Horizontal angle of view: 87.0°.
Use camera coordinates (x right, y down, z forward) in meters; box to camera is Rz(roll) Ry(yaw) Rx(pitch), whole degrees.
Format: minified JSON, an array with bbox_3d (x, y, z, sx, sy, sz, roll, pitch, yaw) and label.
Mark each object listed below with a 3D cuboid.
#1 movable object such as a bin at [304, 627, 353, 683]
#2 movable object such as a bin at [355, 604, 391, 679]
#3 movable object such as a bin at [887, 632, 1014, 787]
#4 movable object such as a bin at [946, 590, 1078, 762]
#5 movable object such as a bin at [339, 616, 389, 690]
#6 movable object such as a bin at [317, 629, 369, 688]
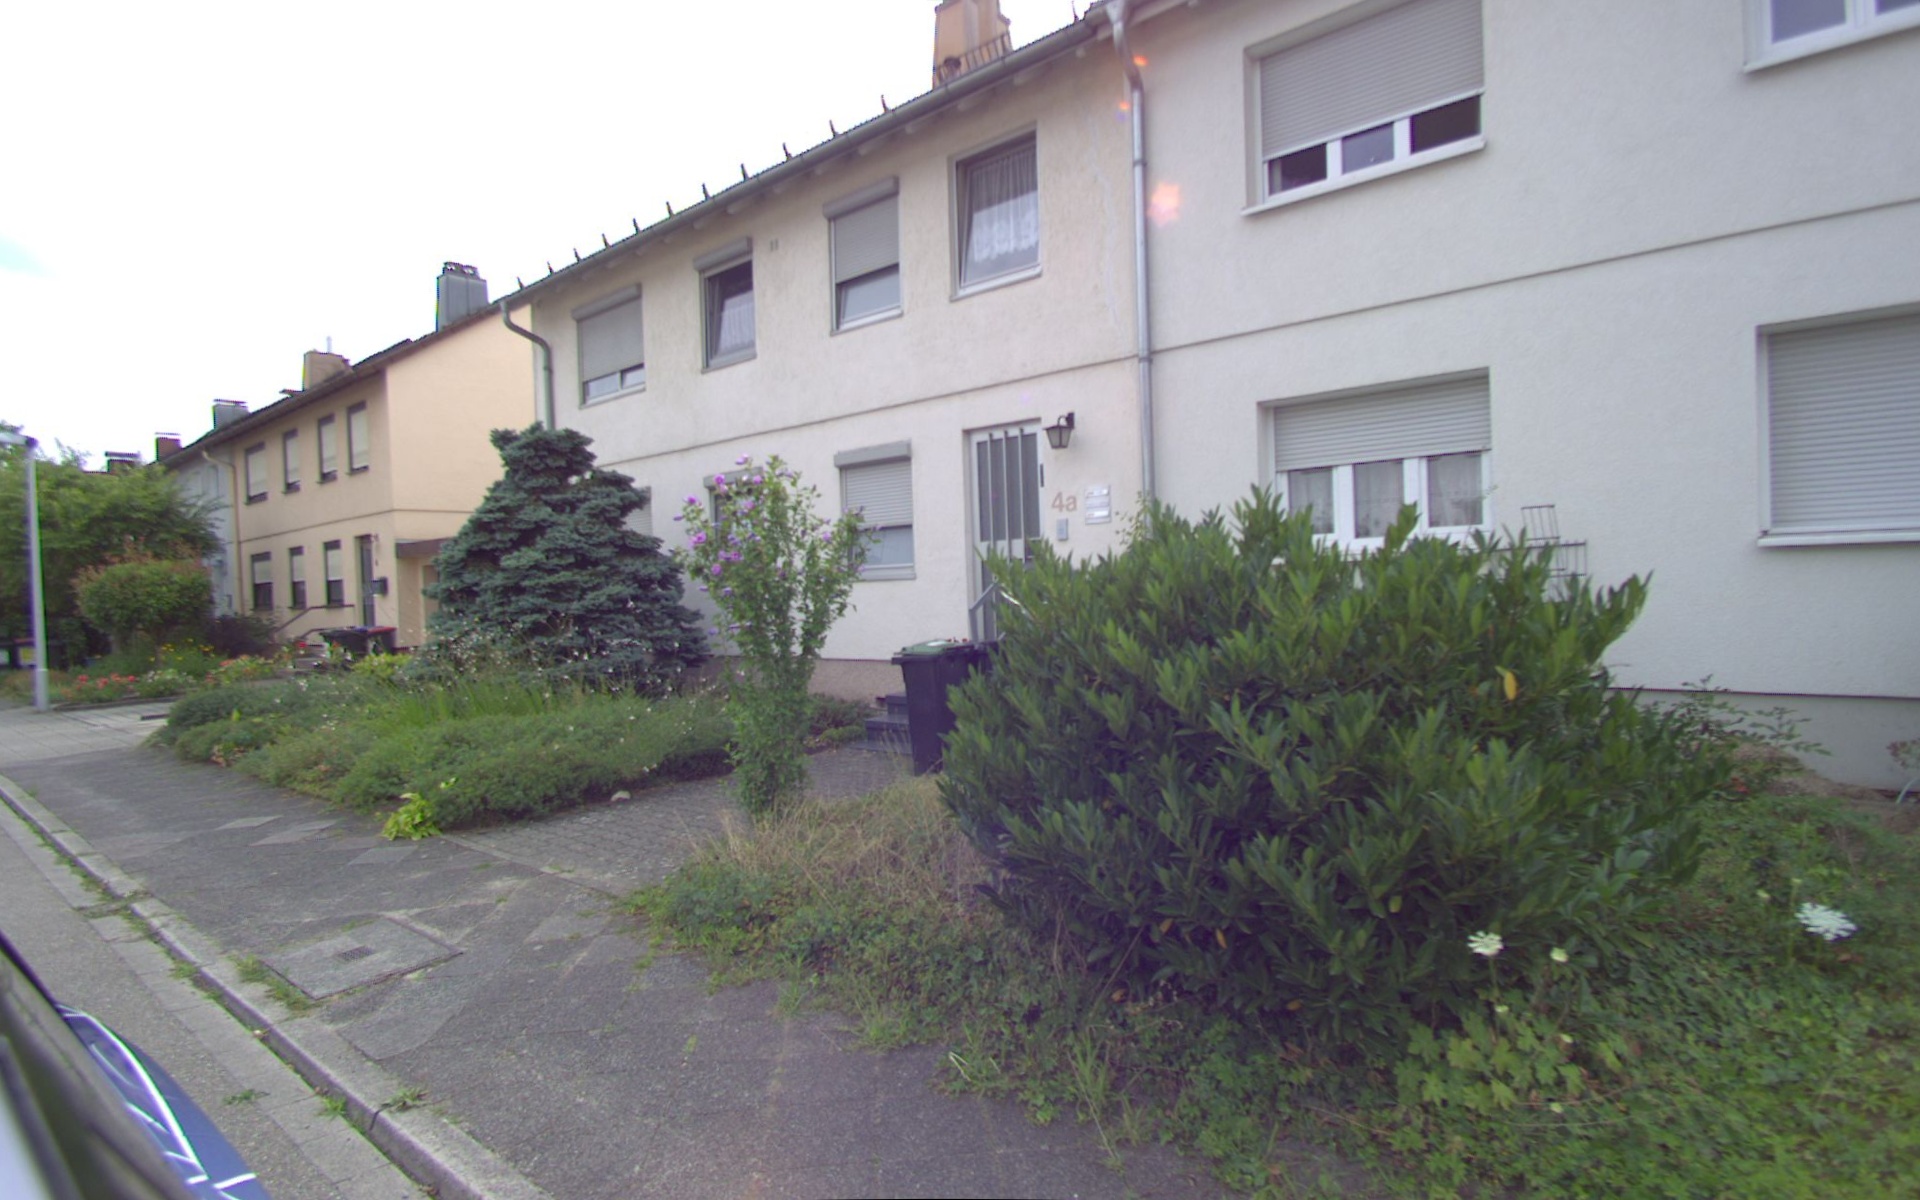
[{"bbox_3d":[-11.845,1.016,18.990,0.541,1.010,0.646,-2,-1,41],"label":"movable object such as a bin"},{"bbox_3d":[-11.098,0.780,19.122,0.610,1.395,0.406,-2,-1,41],"label":"movable object such as a bin"},{"bbox_3d":[-0.064,0.744,7.205,0.598,1.015,0.668,-2,-1,41],"label":"movable object such as a bin"},{"bbox_3d":[0.406,0.556,7.857,0.734,1.249,0.689,-2,-1,41],"label":"movable object such as a bin"},{"bbox_3d":[-11.542,1.009,19.605,0.632,1.395,0.646,-2,-1,41],"label":"movable object such as a bin"},{"bbox_3d":[-11.341,1.066,18.614,0.632,1.029,0.646,-2,-1,41],"label":"movable object such as a bin"}]
